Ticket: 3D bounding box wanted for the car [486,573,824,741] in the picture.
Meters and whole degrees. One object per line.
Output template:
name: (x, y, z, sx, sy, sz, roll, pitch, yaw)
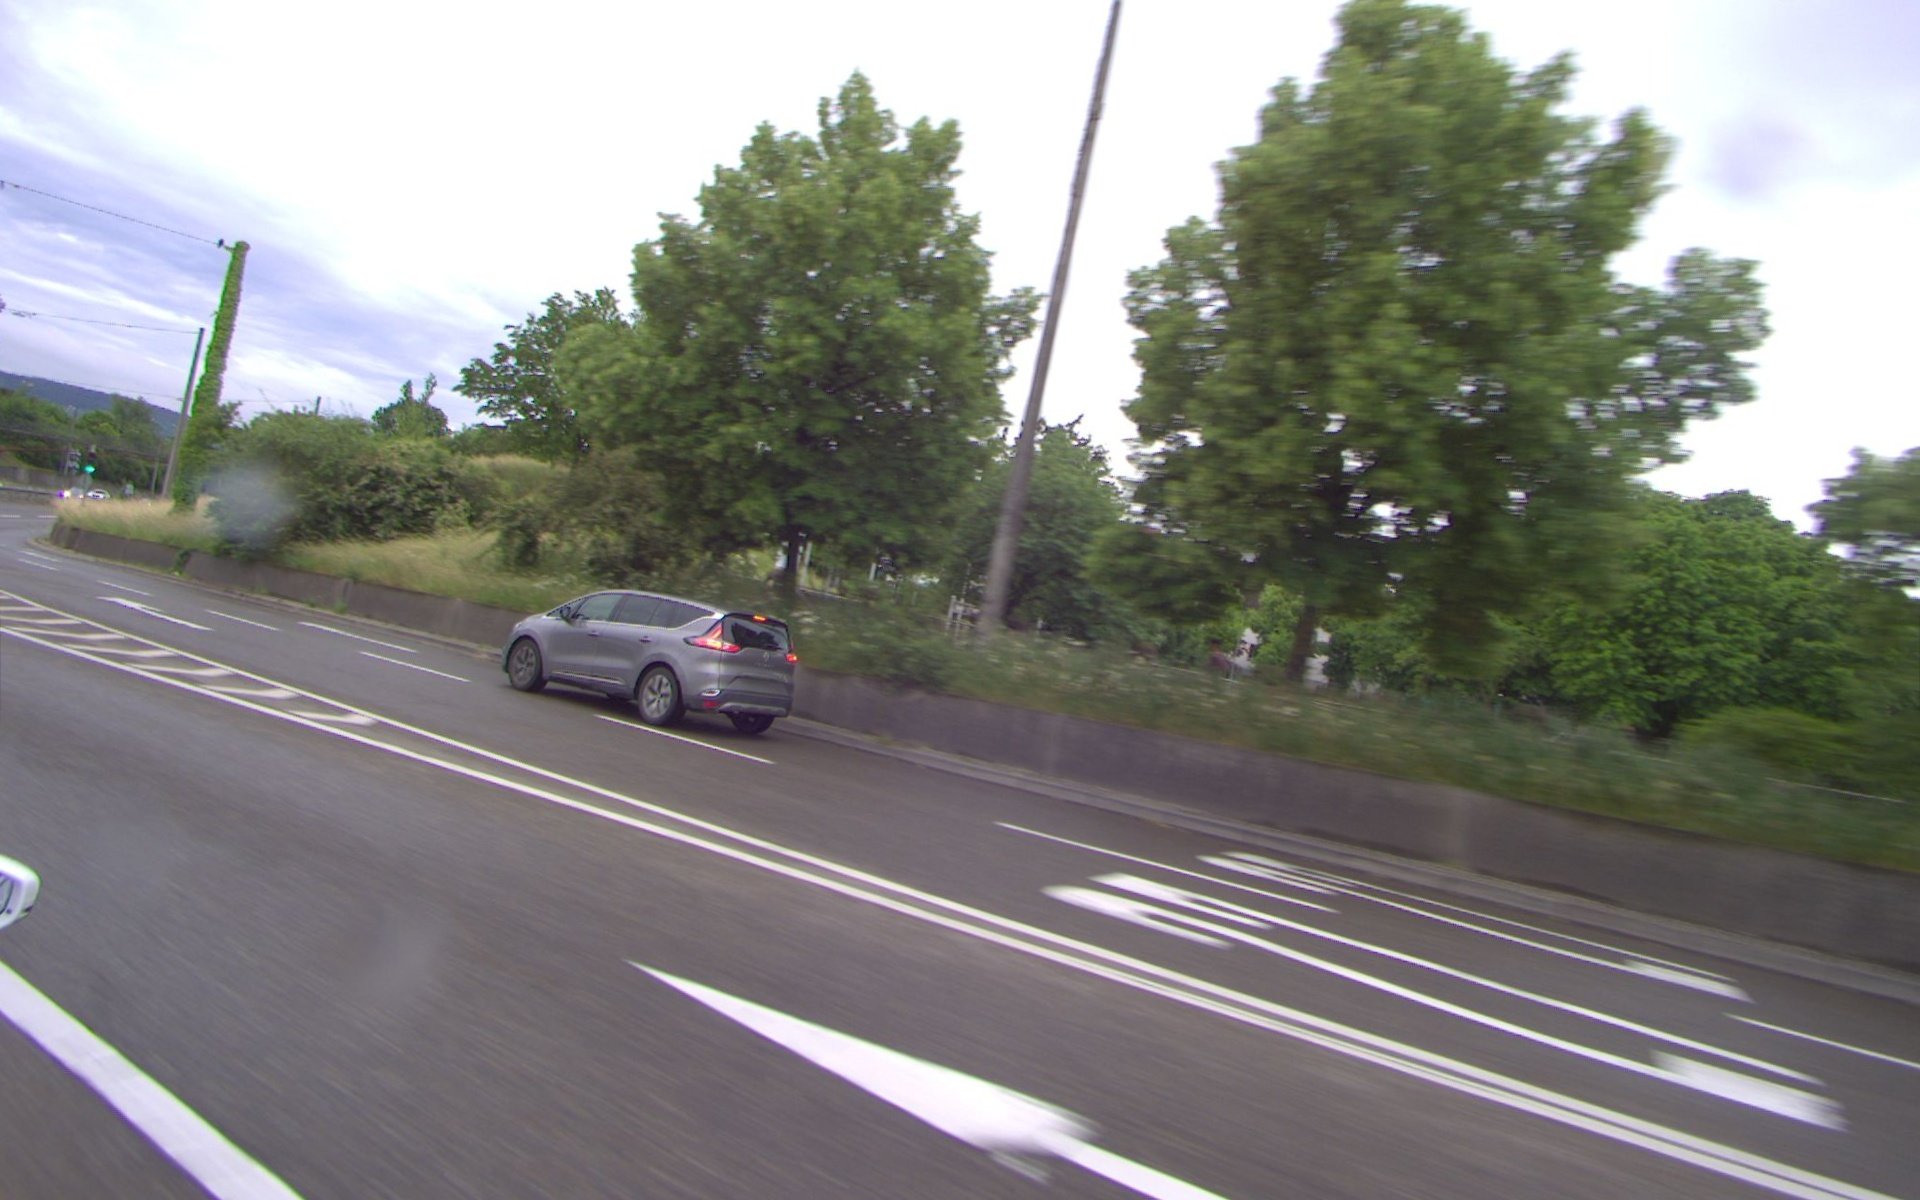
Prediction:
car: (-4.285, 0.744, 13.892, 4.550, 1.665, 1.731, 5, -6, 33)
